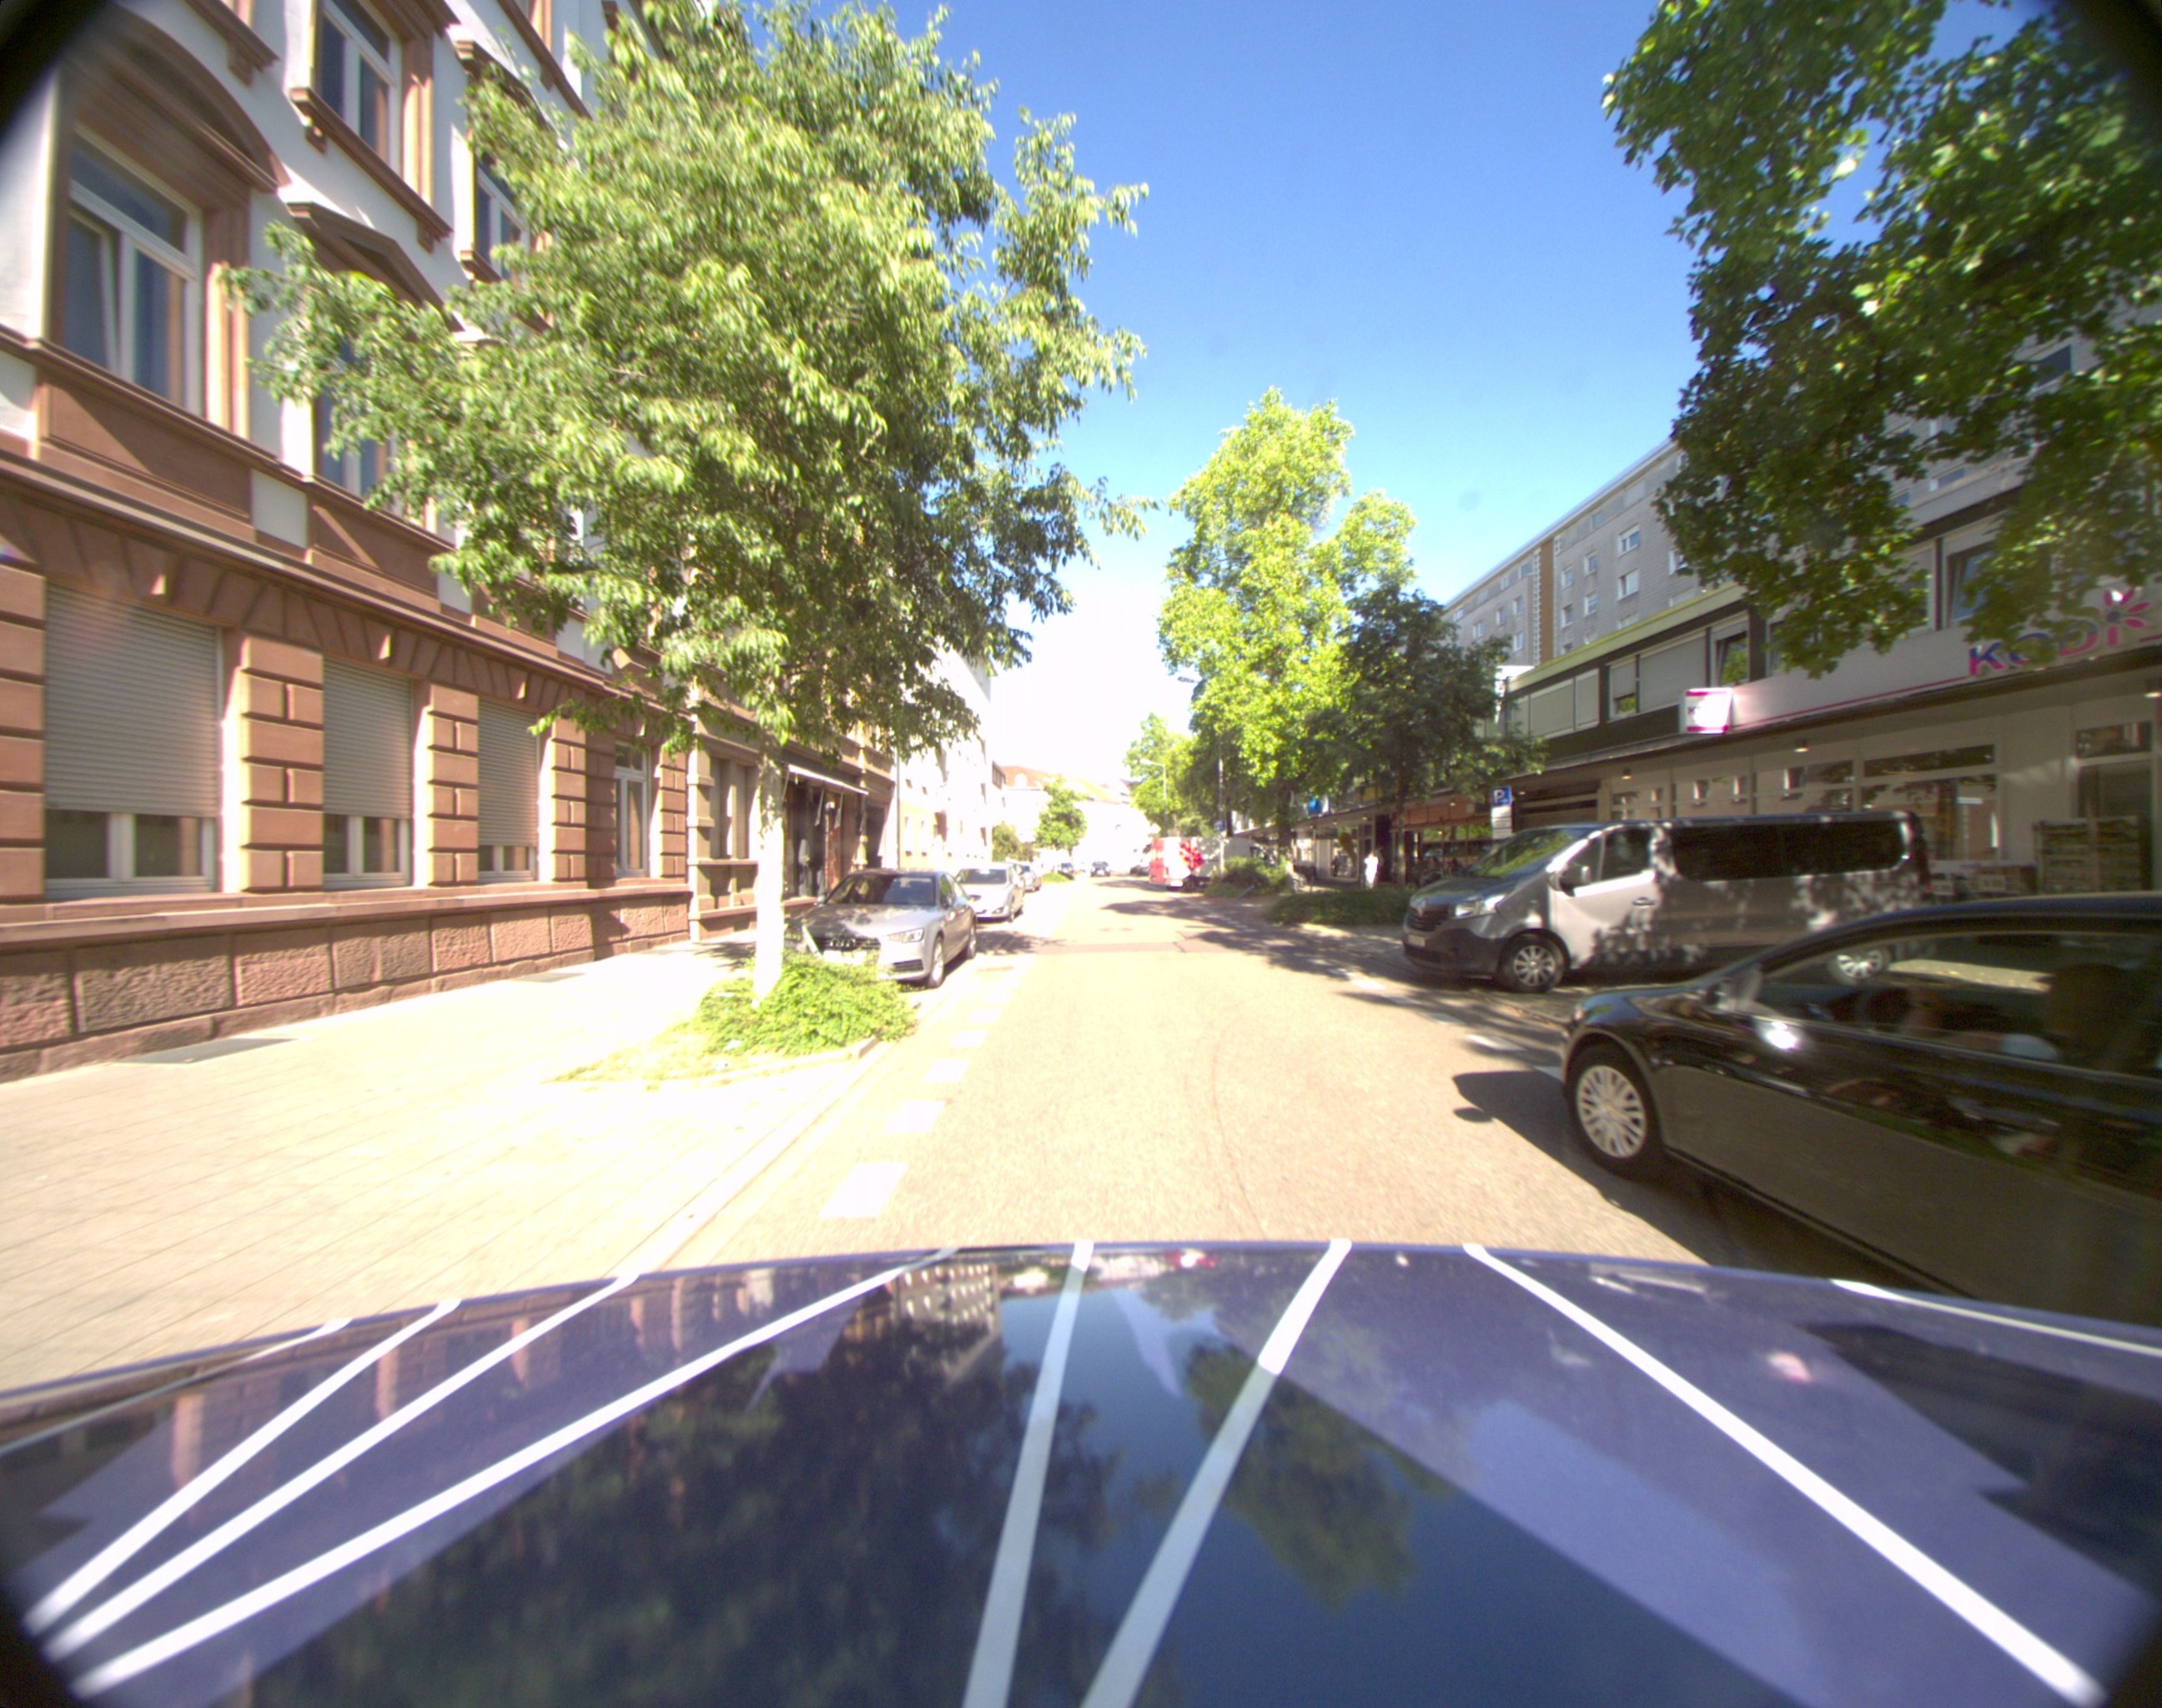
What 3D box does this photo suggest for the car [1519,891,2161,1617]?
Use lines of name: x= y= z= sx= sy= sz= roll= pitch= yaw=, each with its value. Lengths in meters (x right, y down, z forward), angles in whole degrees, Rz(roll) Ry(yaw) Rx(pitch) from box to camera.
car: x=3.206 y=0.922 z=2.073 sx=1.767 sy=1.430 sz=3.960 roll=1 pitch=0 yaw=1

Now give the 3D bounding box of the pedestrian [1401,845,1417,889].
pedestrian: x=14.096 y=0.563 z=32.613 sx=0.454 sy=1.892 sz=0.492 roll=-1 pitch=0 yaw=-1

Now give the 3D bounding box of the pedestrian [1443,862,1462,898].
pedestrian: x=13.107 y=0.915 z=26.811 sx=0.329 sy=1.233 sz=0.636 roll=-1 pitch=0 yaw=-2

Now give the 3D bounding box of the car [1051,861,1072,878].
car: x=-1.803 y=1.447 z=70.654 sx=1.720 sy=1.445 sz=4.000 roll=0 pitch=0 yaw=2

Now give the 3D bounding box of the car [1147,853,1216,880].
car: x=7.655 y=0.946 z=58.134 sx=5.043 sy=1.927 sz=1.873 roll=-2 pitch=0 yaw=0

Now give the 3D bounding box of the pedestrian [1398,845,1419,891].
pedestrian: x=13.577 y=0.577 z=31.500 sx=0.596 sy=1.892 sz=0.579 roll=-1 pitch=0 yaw=0

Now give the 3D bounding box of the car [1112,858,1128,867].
car: x=6.579 y=1.369 z=126.932 sx=1.632 sy=1.412 sz=3.300 roll=-1 pitch=0 yaw=24

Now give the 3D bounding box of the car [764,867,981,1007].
car: x=-2.541 y=0.931 z=10.370 sx=1.743 sy=1.443 sz=4.307 roll=-1 pitch=0 yaw=0

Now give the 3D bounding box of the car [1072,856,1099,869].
car: x=0.717 y=1.220 z=111.907 sx=1.908 sy=1.924 sz=4.818 roll=-1 pitch=0 yaw=27

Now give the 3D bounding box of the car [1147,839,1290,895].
car: x=6.591 y=0.563 z=36.322 sx=6.610 sy=2.459 sz=1.997 roll=-1 pitch=0 yaw=-20

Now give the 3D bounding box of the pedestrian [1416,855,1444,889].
pedestrian: x=13.205 y=0.688 z=28.743 sx=0.609 sy=1.256 sz=0.898 roll=-1 pitch=0 yaw=-2

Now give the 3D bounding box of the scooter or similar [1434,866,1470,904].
scooter or similar: x=12.552 y=1.039 z=25.707 sx=1.320 sy=1.216 sz=0.456 roll=-2 pitch=1 yaw=-33

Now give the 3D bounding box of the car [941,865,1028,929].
car: x=-2.398 y=1.036 z=19.851 sx=1.743 sy=1.443 sz=4.000 roll=-1 pitch=0 yaw=0

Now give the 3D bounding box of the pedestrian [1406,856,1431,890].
pedestrian: x=13.648 y=0.769 z=30.731 sx=0.565 sy=1.333 sz=0.954 roll=-1 pitch=0 yaw=-1

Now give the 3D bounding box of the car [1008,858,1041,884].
car: x=-3.368 y=1.014 z=45.854 sx=1.735 sy=1.477 sz=3.794 roll=1 pitch=0 yaw=0

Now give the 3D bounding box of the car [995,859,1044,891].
car: x=-2.938 y=1.002 z=37.375 sx=1.790 sy=1.451 sz=4.517 roll=1 pitch=0 yaw=3

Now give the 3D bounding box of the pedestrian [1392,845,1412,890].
pedestrian: x=13.529 y=0.558 z=32.045 sx=0.596 sy=1.892 sz=0.579 roll=0 pitch=0 yaw=-1

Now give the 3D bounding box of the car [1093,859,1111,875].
car: x=1.936 y=1.240 z=72.164 sx=1.612 sy=1.444 sz=3.295 roll=-1 pitch=0 yaw=0

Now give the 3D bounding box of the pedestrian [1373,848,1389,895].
pedestrian: x=12.518 y=0.728 z=31.687 sx=0.598 sy=1.923 sz=0.588 roll=0 pitch=0 yaw=22

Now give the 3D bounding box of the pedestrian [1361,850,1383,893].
pedestrian: x=11.530 y=0.686 z=30.140 sx=0.587 sy=1.701 sz=0.600 roll=-1 pitch=0 yaw=-5

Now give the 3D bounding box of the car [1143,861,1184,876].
car: x=8.324 y=1.463 z=77.056 sx=3.997 sy=1.390 sz=1.759 roll=-1 pitch=0 yaw=-1

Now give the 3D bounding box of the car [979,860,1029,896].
car: x=-3.309 y=0.995 z=33.220 sx=1.713 sy=1.471 sz=3.710 roll=-1 pitch=0 yaw=1

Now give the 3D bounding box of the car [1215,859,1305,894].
car: x=7.918 y=0.978 z=33.863 sx=3.603 sy=1.412 sz=1.831 roll=-1 pitch=0 yaw=0

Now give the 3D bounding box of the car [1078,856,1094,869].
car: x=0.639 y=0.979 z=91.320 sx=1.861 sy=1.499 sz=4.000 roll=-1 pitch=0 yaw=0

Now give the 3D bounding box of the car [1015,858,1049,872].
car: x=-6.871 y=1.539 z=106.640 sx=4.756 sy=2.002 sz=1.999 roll=-1 pitch=0 yaw=-3

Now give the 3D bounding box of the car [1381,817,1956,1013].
car: x=6.672 y=0.661 z=9.129 sx=5.305 sy=1.962 sz=2.015 roll=-1 pitch=0 yaw=1

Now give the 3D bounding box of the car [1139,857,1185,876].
car: x=9.229 y=1.448 z=86.750 sx=4.995 sy=1.958 sz=1.909 roll=-2 pitch=0 yaw=-1
